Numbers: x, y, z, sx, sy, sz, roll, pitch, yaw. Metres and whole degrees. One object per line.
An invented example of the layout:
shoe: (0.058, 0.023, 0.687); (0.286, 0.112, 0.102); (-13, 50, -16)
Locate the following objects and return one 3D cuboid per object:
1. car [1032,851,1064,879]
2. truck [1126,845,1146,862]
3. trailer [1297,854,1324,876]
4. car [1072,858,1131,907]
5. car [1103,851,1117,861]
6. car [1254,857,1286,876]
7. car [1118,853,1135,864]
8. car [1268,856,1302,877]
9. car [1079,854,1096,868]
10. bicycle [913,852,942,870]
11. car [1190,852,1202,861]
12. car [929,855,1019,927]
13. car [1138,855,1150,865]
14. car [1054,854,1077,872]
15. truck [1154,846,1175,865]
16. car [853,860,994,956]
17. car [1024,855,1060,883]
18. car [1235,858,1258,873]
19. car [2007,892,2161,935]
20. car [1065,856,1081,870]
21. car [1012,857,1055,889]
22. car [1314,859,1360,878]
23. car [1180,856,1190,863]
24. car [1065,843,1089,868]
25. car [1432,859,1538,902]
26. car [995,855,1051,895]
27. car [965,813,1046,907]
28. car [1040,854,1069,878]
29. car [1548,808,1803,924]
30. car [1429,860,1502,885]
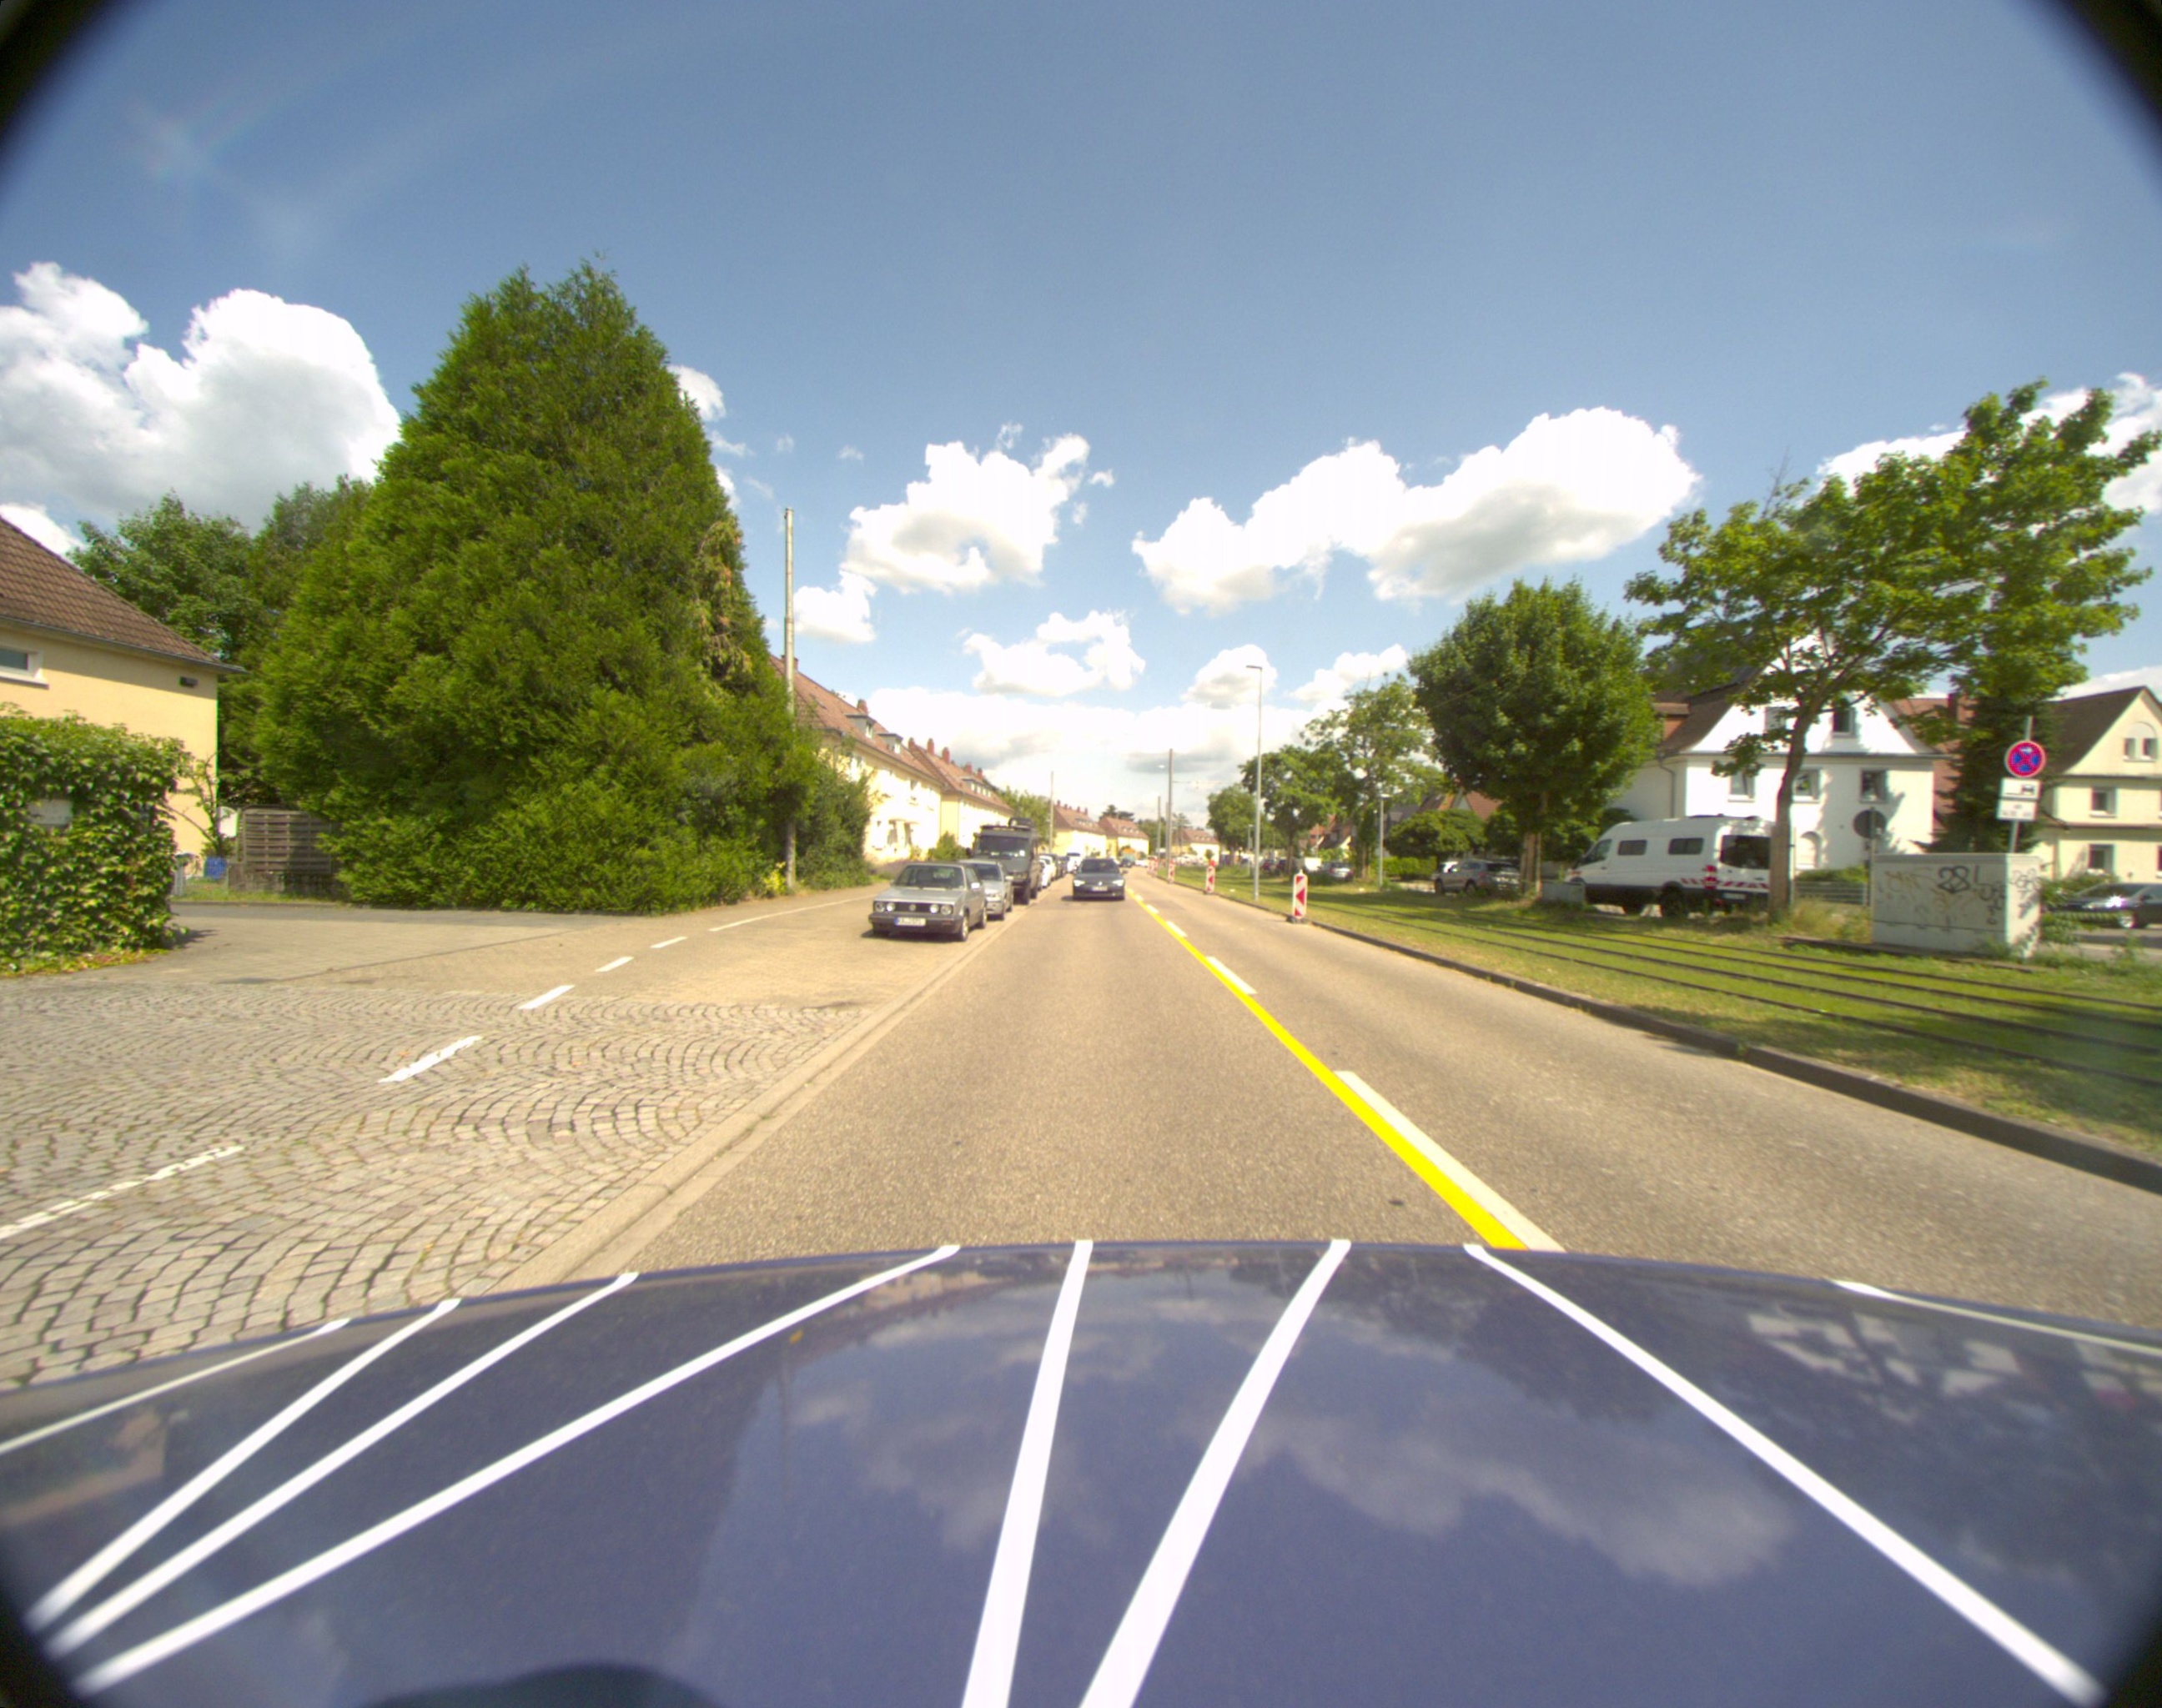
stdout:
car: (-2.001, 0.633, 47.256); (1.683, 1.621, 4.271); (2, 0, 1)
truck: (10.452, -0.116, 144.227); (2.529, 2.931, 7.868); (2, 1, 13)
trailer: (16.843, 0.788, 55.883); (1.302, 1.510, 2.282); (2, 1, 1)
car: (0.631, 0.906, 26.021); (1.786, 1.412, 4.289); (2, 1, 0)
car: (4.445, 0.319, 116.668); (1.512, 1.490, 3.577); (2, 1, 12)
car: (17.680, 1.156, 71.192); (1.998, 1.531, 4.322); (2, 1, 2)
car: (6.785, 0.719, 112.884); (1.997, 1.566, 4.003); (1, 0, 9)
car: (17.700, 1.075, 66.036); (1.910, 1.568, 4.102); (5, -1, 2)
car: (0.761, 0.820, 88.759); (1.513, 1.490, 3.408); (2, 1, 7)
bicycle: (-9.367, 0.438, 46.417); (1.693, 1.096, 0.290); (1, 1, 1)
car: (27.371, 0.667, 180.379); (1.838, 2.043, 3.874); (2, 1, 21)
car: (-2.599, 0.842, 19.334); (1.696, 1.507, 4.355); (2, 1, -1)
car: (11.281, 1.083, 135.212); (1.997, 1.791, 4.002); (1, 0, 6)
car: (-1.300, 0.759, 66.488); (1.756, 1.480, 4.628); (3, 0, 2)
truck: (15.749, 0.281, 142.628); (2.699, 3.346, 8.060); (2, 0, 15)
car: (-2.801, 0.891, 14.411); (1.655, 1.423, 4.097); (2, 1, 2)
car: (-2.130, 0.782, 42.605); (1.653, 1.410, 4.026); (2, 0, 2)
car: (19.578, 1.356, 89.887); (1.998, 1.531, 4.323); (2, 1, 4)
car: (33.286, 1.942, 24.615); (3.996, 1.128, 2.000); (2, 1, 1)
car: (-0.760, 0.868, 74.851); (1.358, 1.299, 3.543); (2, 1, 2)
car: (-2.191, 0.861, 36.030); (1.725, 1.287, 4.128); (2, 0, 0)
car: (16.918, 0.932, 50.450); (1.785, 1.087, 3.836); (2, 1, 1)
car: (22.707, 1.150, 165.995); (1.511, 1.490, 3.579); (2, 1, 18)
car: (-0.402, 0.150, 79.703); (1.923, 2.522, 5.346); (2, 0, 6)
car: (16.486, 1.020, 31.314); (1.998, 1.497, 4.486); (2, 1, 1)
car: (-2.274, 0.806, 30.760); (1.725, 1.394, 4.837); (2, 0, 1)
car: (-2.402, 0.175, 25.445); (2.001, 2.744, 4.879); (2, 0, 1)
car: (-1.769, 0.804, 52.238); (1.689, 1.429, 4.516); (3, 1, 1)
car: (16.295, 0.288, 21.515); (1.999, 2.714, 6.462); (2, 0, -1)
car: (26.131, 1.297, 51.736); (3.997, 1.518, 2.001); (2, -2, 1)
